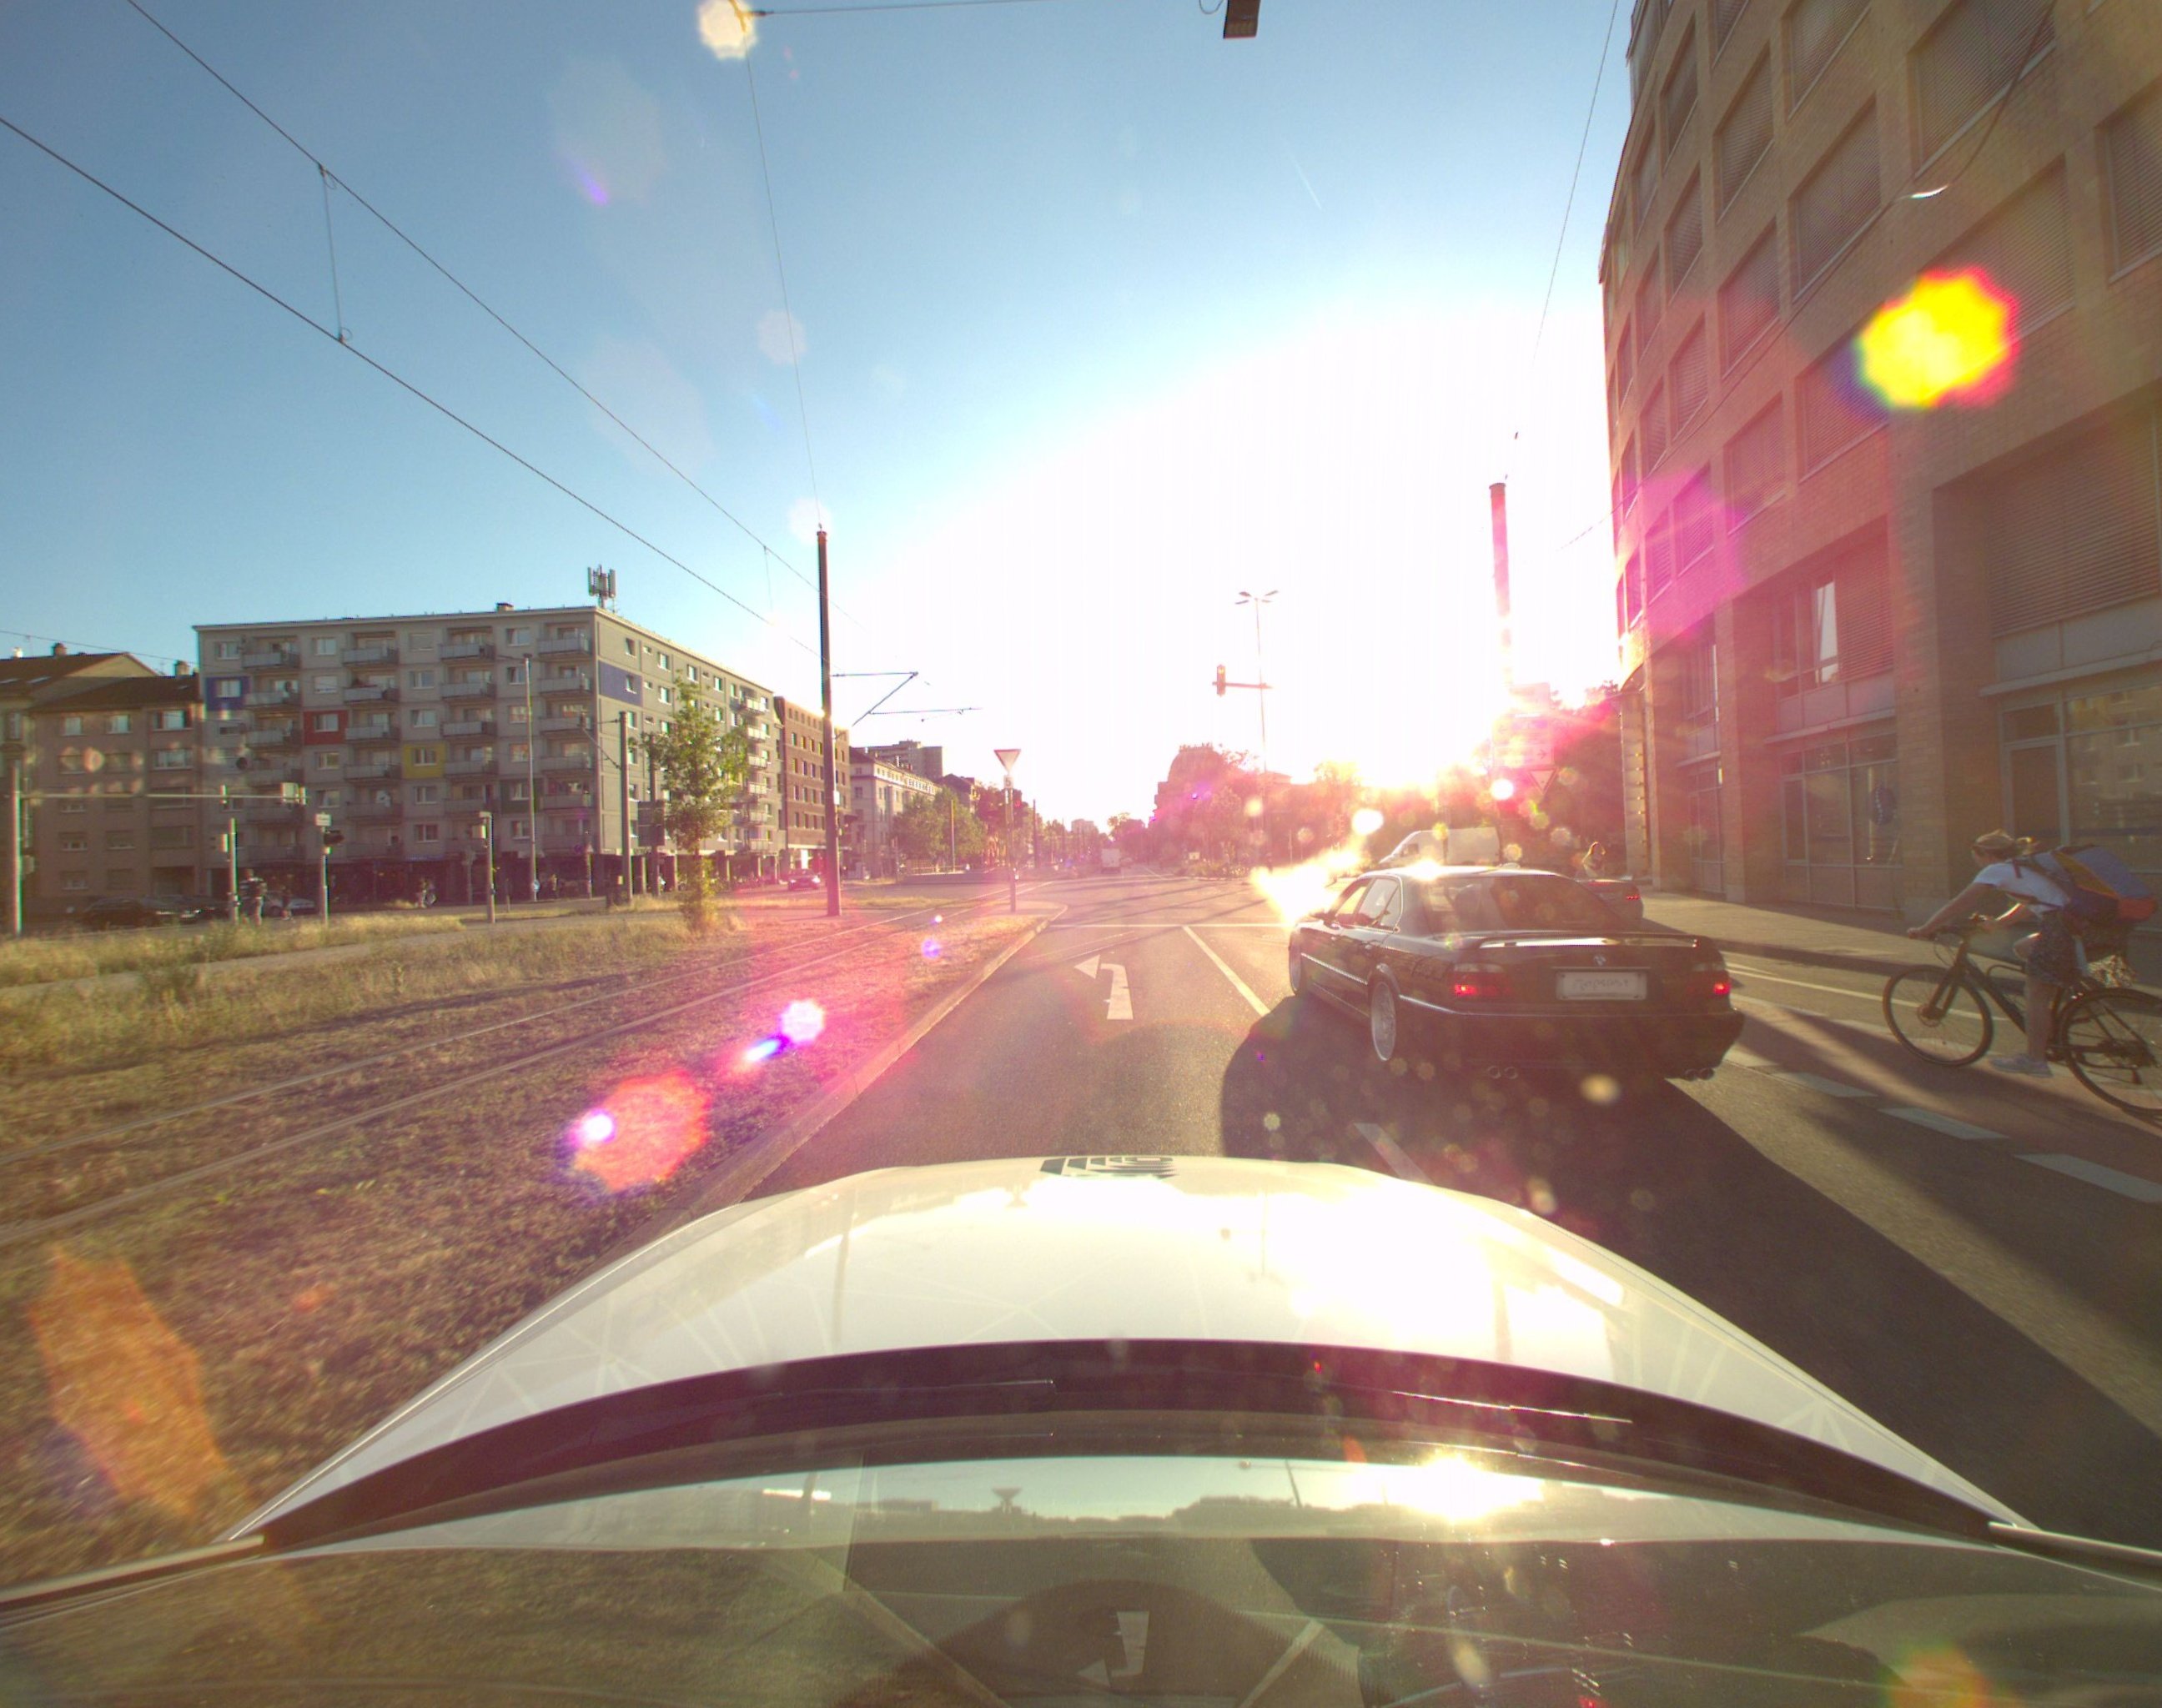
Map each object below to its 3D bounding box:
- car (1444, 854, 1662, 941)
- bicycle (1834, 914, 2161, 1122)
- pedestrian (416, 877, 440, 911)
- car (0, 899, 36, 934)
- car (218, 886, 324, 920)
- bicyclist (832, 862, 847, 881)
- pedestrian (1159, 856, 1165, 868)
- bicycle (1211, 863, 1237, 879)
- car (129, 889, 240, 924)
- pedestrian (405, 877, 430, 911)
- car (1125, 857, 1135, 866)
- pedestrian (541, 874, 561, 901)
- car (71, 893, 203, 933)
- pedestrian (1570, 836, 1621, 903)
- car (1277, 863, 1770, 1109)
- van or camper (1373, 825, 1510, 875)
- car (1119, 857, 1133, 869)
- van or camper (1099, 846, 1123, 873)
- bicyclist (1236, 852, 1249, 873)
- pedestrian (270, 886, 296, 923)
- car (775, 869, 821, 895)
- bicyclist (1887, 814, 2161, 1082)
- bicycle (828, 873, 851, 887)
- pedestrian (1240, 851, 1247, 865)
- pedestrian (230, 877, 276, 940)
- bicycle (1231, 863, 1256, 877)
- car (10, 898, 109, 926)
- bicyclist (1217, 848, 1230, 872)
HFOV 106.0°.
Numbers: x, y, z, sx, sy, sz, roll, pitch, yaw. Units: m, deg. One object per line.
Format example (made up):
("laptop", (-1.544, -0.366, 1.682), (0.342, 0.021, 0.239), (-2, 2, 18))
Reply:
("car", (8.628, 0.705, 15.373), (1.776, 1.354, 4.269), (-1, 0, 2))
("bicycle", (5.812, 0.922, 5.130), (0.513, 0.954, 1.776), (0, 0, 1))
("pedestrian", (-36.756, 2.222, 45.833), (0.600, 1.847, 0.823), (-2, 1, 3))
("car", (-54.845, 3.172, 39.982), (4.269, 1.585, 1.987), (-2, 1, -3))
("car", (-44.548, 2.667, 44.872), (3.855, 1.585, 1.802), (-2, 1, -3))
("bicyclist", (-18.304, 1.332, 61.754), (0.655, 1.442, 0.861), (0, 1, 22))
("pedestrian", (9.888, 0.999, 99.531), (0.613, 1.475, 0.802), (-2, 1, 7))
("bicycle", (9.675, 1.154, 55.124), (1.719, 0.970, 0.610), (-1, 1, 6))
("car", (-49.046, 2.857, 44.609), (3.855, 1.585, 1.802), (-2, 1, -3))
("pedestrian", (-37.452, 2.240, 45.998), (0.702, 1.852, 0.737), (-2, 1, 3))
("car", (9.781, 1.441, 162.329), (1.789, 1.566, 3.999), (-2, 1, -1))
("pedestrian", (-33.192, 2.095, 50.972), (0.731, 1.669, 0.788), (-2, 1, 40))
("car", (-44.385, 2.757, 38.359), (3.855, 1.585, 1.802), (-2, 1, -3))
("pedestrian", (12.456, 0.363, 19.736), (0.674, 1.569, 0.800), (-2, 1, 1))
("car", (3.029, 0.767, 6.889), (1.822, 1.354, 4.644), (-1, -1, 3))
("van or camper", (21.576, -0.235, 49.052), (7.009, 2.674, 2.602), (-2, 1, 5))
("car", (6.226, 1.211, 112.135), (1.730, 1.385, 4.004), (-2, 1, 4))
("van or camper", (3.157, 0.557, 85.369), (2.253, 2.624, 4.508), (-2, 1, 4))
("bicyclist", (11.260, 0.606, 56.757), (0.848, 1.442, 0.665), (-2, 1, 11))
("pedestrian", (-37.346, 2.361, 38.119), (0.512, 1.629, 0.616), (-2, 1, 3))
("car", (-18.260, 1.758, 52.520), (1.726, 1.434, 3.957), (-1, 1, -36))
("bicyclist", (5.839, 0.526, 5.047), (0.653, 1.483, 1.038), (0, -1, 1))
("bicycle", (-18.298, 1.974, 61.774), (0.695, 0.970, 1.744), (1, 1, 23))
("pedestrian", (19.151, 0.475, 95.870), (0.679, 1.611, 0.613), (-2, 1, 3))
("pedestrian", (-24.115, 1.585, 23.727), (0.713, 1.762, 0.654), (-2, 1, 24))
("bicycle", (11.312, 1.116, 56.749), (1.707, 0.970, 0.611), (-1, 1, 11))
("car", (-70.031, 3.971, 55.876), (4.276, 1.585, 1.802), (-2, 1, -3))
("bicyclist", (9.648, 0.431, 55.120), (0.793, 1.571, 0.664), (-2, 1, 6))
